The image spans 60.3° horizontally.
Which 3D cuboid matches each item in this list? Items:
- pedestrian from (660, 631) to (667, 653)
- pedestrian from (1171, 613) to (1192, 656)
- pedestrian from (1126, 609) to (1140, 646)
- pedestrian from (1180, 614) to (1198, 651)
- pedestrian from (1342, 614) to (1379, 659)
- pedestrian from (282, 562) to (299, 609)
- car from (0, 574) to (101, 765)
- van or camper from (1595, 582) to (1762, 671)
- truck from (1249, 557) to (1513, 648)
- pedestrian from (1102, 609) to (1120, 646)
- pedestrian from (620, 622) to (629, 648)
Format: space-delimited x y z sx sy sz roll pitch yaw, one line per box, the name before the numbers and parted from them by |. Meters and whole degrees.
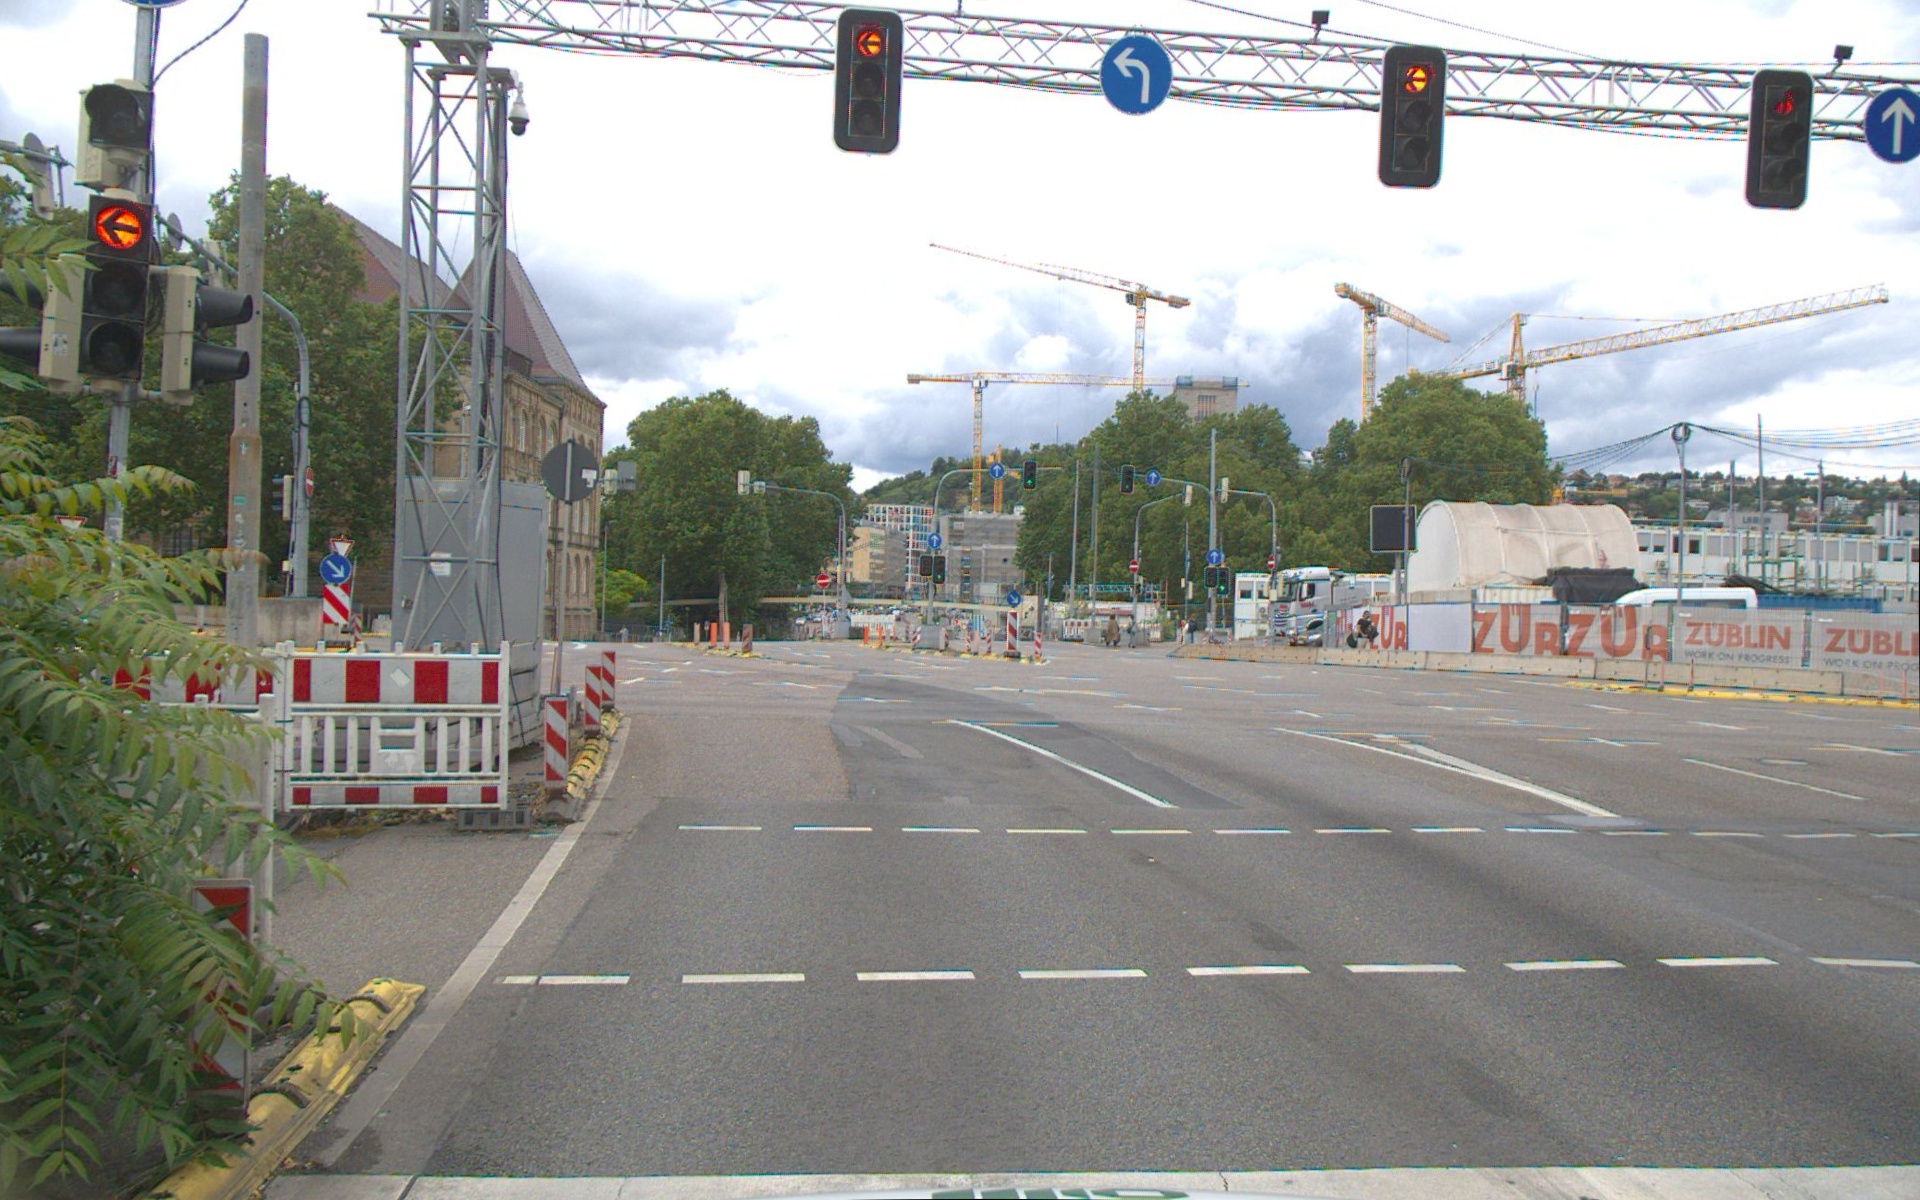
pedestrian | -28.343 3.989 158.113 0.513 2.049 0.566 1 0 -1
pedestrian | 9.069 1.398 67.663 0.714 1.718 0.677 2 0 -1
pedestrian | 8.085 1.297 77.476 0.555 1.718 0.471 2 0 -1
pedestrian | 10.874 1.539 78.599 0.609 1.718 0.710 2 0 28
pedestrian | 12.855 1.160 53.135 0.784 1.402 0.901 2 0 -17
pedestrian | -29.510 -0.630 72.857 0.523 2.049 0.421 2 0 -44
car | -8.323 0.526 12.215 1.666 1.497 4.628 1 0 -3
van or camper | 20.732 0.739 47.905 4.123 2.398 2.001 1 0 14
truck | 21.003 0.160 82.314 12.837 4.111 3.927 1 0 -21
pedestrian | 7.068 1.282 77.347 0.714 1.718 0.677 2 0 -1
pedestrian | -26.936 2.782 132.816 0.513 2.049 0.566 1 0 -1
